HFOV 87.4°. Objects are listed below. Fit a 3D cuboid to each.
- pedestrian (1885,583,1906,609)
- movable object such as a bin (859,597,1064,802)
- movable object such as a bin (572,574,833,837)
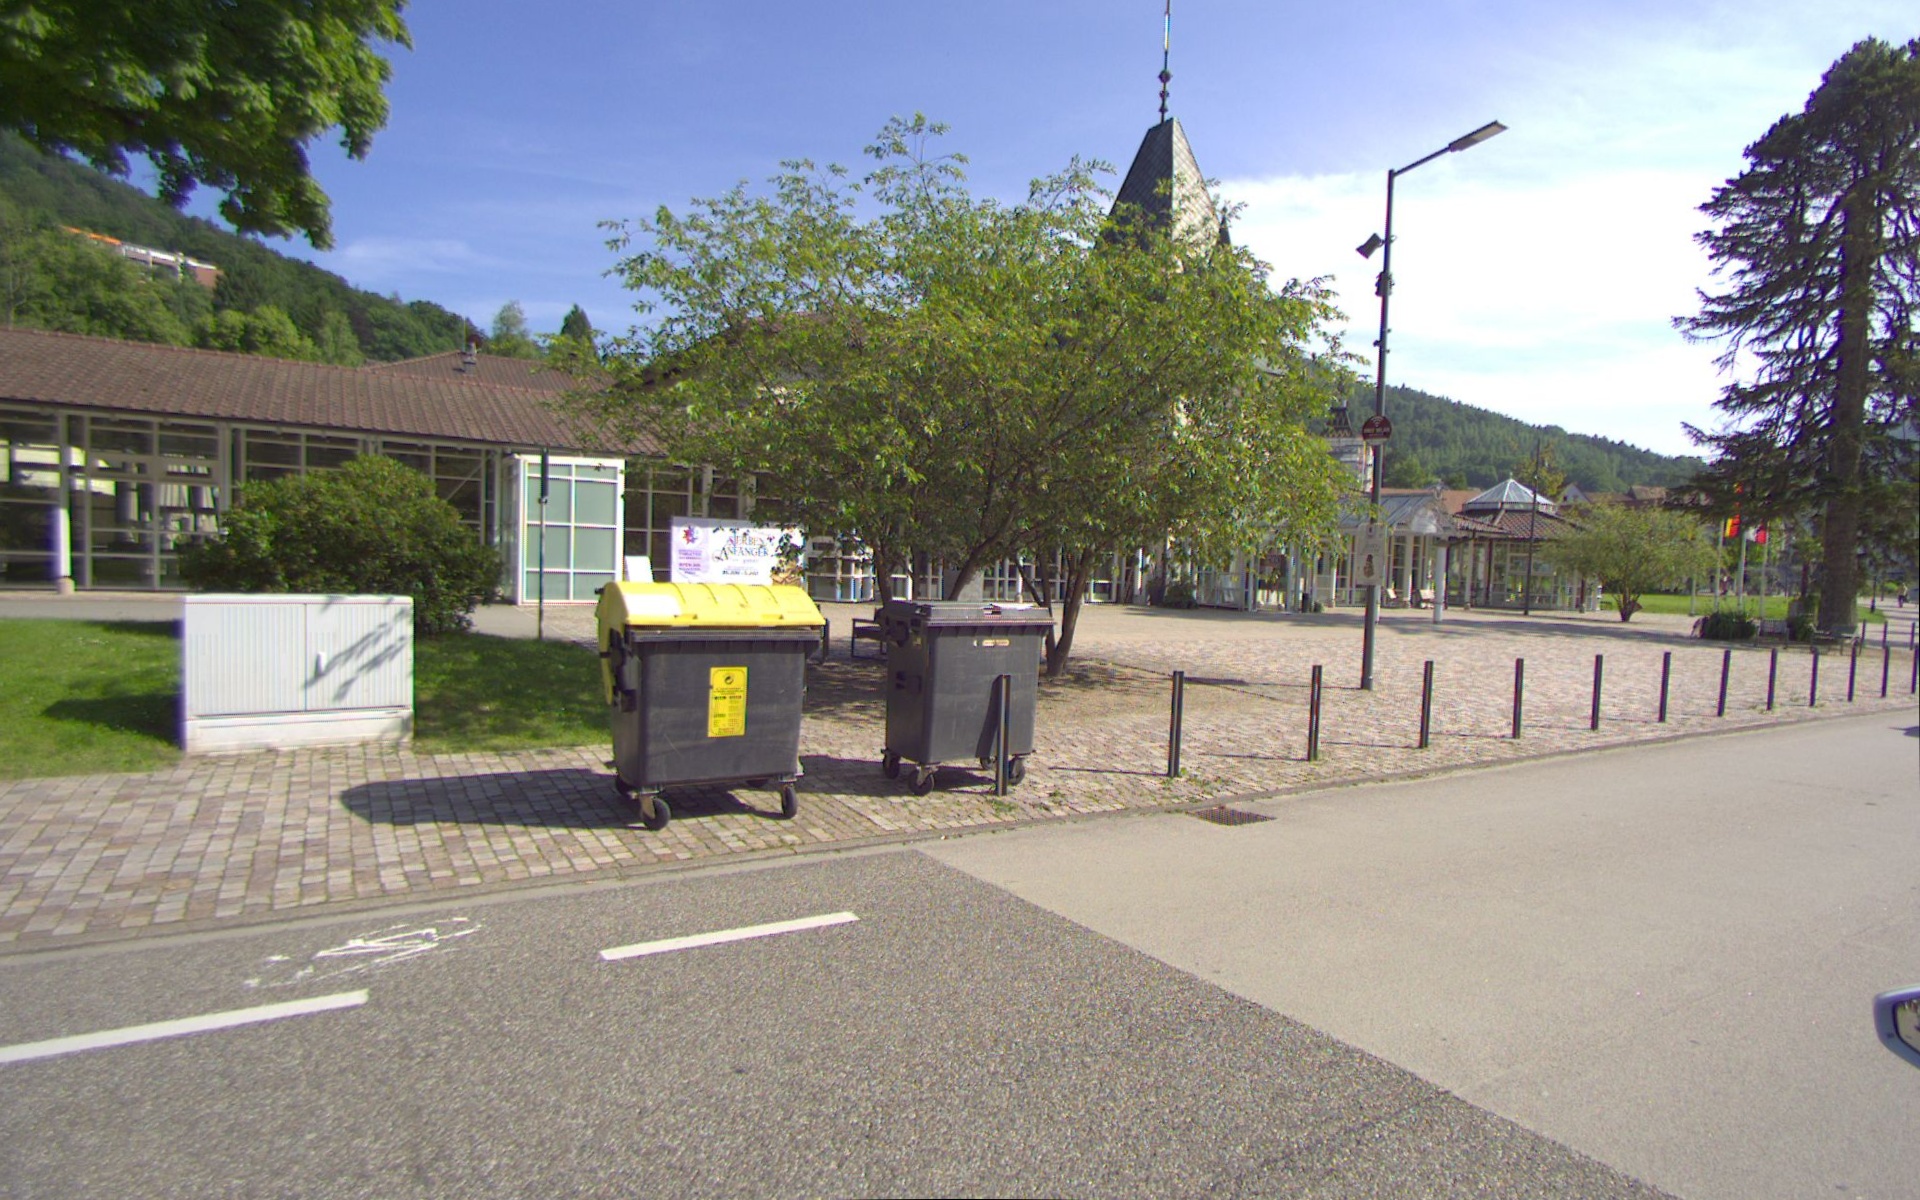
[{"bbox_3d":[68.549,-0.285,73.625,0.854,1.839,0.690,4,4,30],"label":"pedestrian"},{"bbox_3d":[0.008,0.691,7.533,1.280,1.360,0.751,1,5,-32],"label":"movable object such as a bin"},{"bbox_3d":[-1.696,0.601,6.539,1.361,1.447,1.072,1,5,-32],"label":"movable object such as a bin"}]
